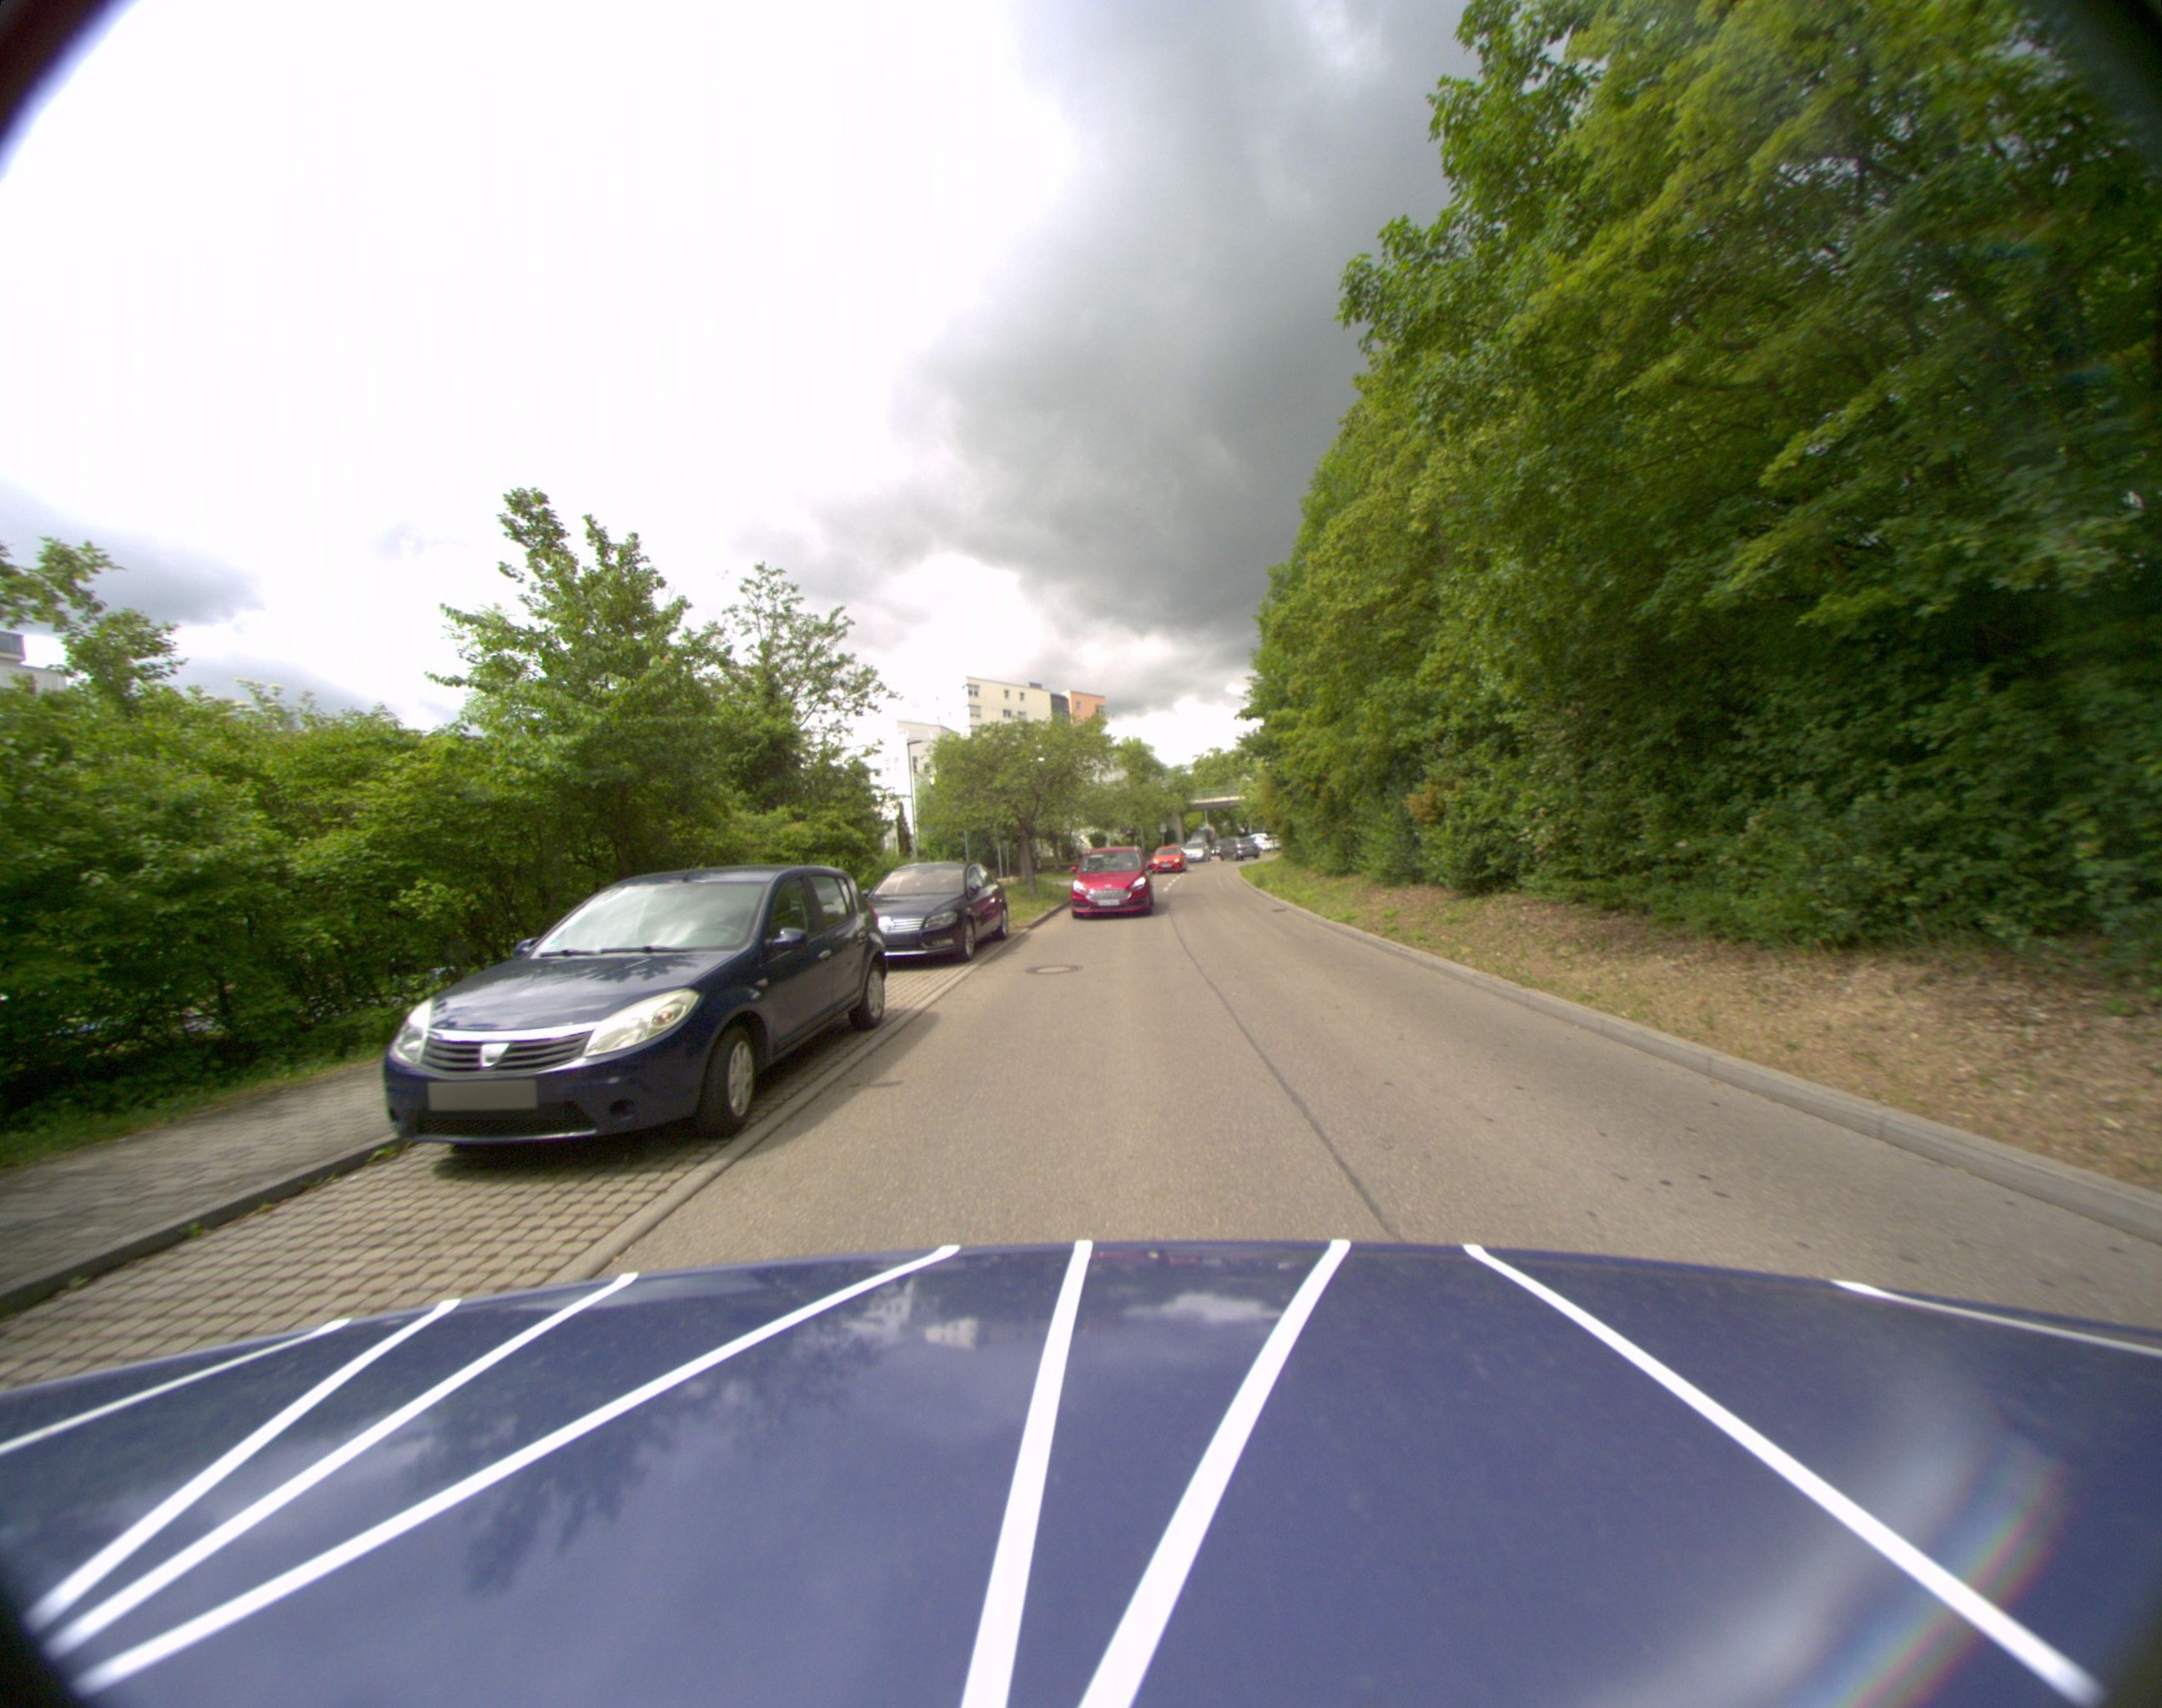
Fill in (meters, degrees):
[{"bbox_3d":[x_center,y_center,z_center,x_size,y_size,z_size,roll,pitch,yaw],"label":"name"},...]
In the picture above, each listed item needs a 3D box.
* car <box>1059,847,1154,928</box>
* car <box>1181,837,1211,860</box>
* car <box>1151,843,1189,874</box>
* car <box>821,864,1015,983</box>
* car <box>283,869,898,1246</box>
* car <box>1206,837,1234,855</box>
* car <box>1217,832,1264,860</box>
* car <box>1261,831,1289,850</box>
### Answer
[{"bbox_3d":[0.717,0.709,17.994,1.812,1.600,3.723,-3,1,7],"label":"car"},{"bbox_3d":[8.732,-0.447,57.543,1.779,1.443,4.003,-4,1,14],"label":"car"},{"bbox_3d":[4.835,0.197,41.618,1.861,1.434,4.000,-4,1,5],"label":"car"},{"bbox_3d":[-2.358,0.959,12.225,1.780,1.426,4.335,-2,0,5],"label":"car"},{"bbox_3d":[-2.706,0.977,5.416,1.733,1.510,3.888,-2,1,1],"label":"car"},{"bbox_3d":[12.920,-0.765,70.513,1.778,1.412,4.004,-5,1,20],"label":"car"},{"bbox_3d":[11.320,-0.562,54.176,1.758,1.652,4.117,-8,0,-8],"label":"car"},{"bbox_3d":[16.759,-1.182,65.563,1.810,1.397,4.052,-4,1,20],"label":"car"}]
